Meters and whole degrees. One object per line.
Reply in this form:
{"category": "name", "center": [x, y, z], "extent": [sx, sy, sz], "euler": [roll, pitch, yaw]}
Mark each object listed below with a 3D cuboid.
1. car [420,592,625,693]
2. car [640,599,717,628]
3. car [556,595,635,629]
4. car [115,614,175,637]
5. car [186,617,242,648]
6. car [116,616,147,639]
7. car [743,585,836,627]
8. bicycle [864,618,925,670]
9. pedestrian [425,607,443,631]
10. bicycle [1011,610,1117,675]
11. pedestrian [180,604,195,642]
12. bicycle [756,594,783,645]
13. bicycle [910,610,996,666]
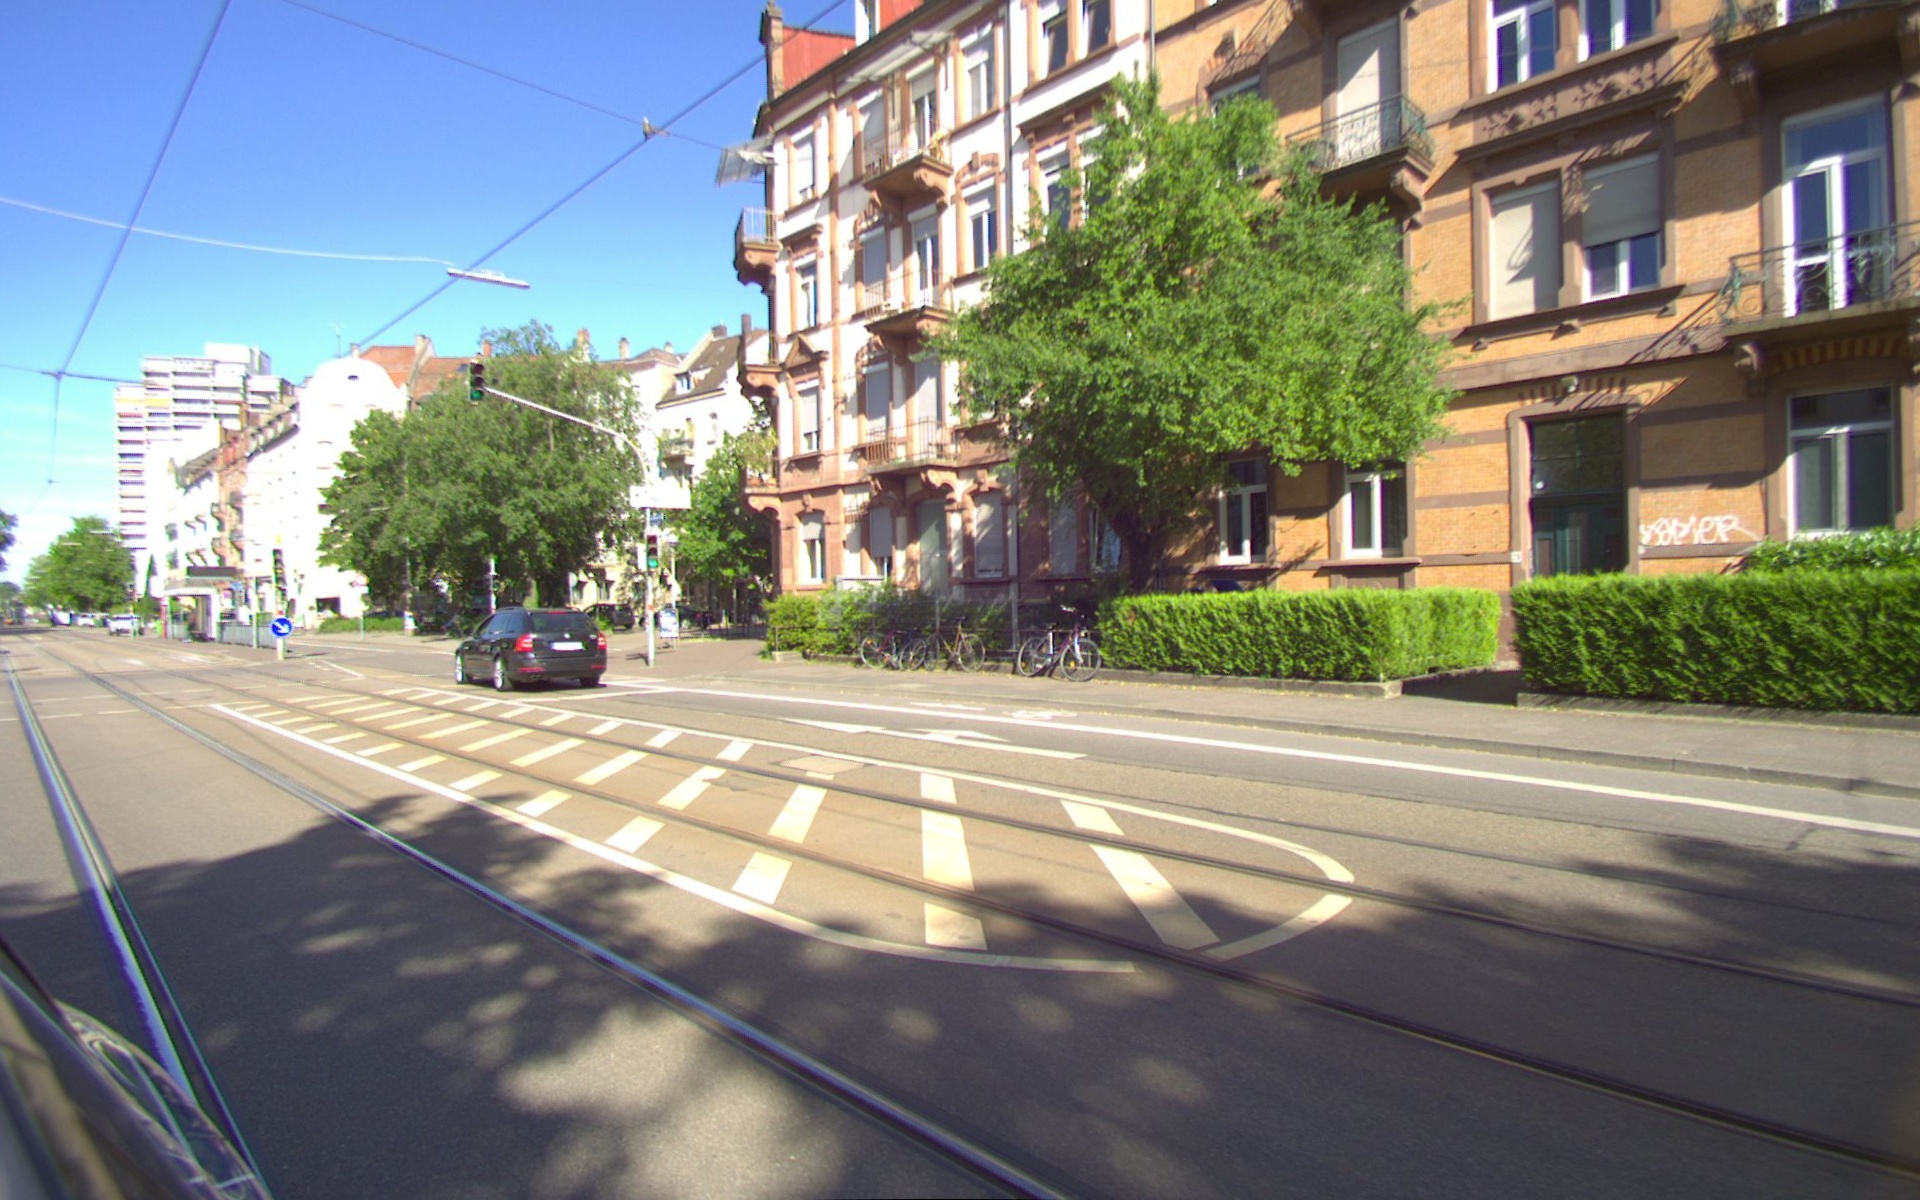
{"category": "car", "center": [-8.316, 0.709, 18.973], "extent": [1.811, 1.529, 4.971], "euler": [-6, 3, -44]}
{"category": "car", "center": [-15.899, 0.748, 57.084], "extent": [3.989, 1.554, 1.727], "euler": [-1, 0, 22]}
{"category": "car", "center": [-21.436, 0.689, 59.567], "extent": [3.964, 1.709, 1.694], "euler": [-4, 2, -37]}
{"category": "car", "center": [-73.031, 2.267, 90.711], "extent": [1.817, 1.600, 3.835], "euler": [4, 6, 41]}
{"category": "car", "center": [-42.293, 1.784, 57.349], "extent": [4.266, 1.630, 1.876], "euler": [0, 0, 44]}
{"category": "car", "center": [-62.541, 2.025, 76.395], "extent": [1.670, 1.551, 3.804], "euler": [-4, 2, -41]}
{"category": "car", "center": [-9.386, 0.305, 55.655], "extent": [4.776, 1.956, 1.931], "euler": [-3, 2, -15]}
{"category": "bicycle", "center": [-1.279, 0.829, 19.485], "extent": [0.337, 0.933, 1.455], "euler": [-4, 2, -40]}
{"category": "pedestrian", "center": [-29.036, 1.031, 55.898], "extent": [0.649, 1.291, 0.724], "euler": [-5, 2, -44]}
{"category": "bicycle", "center": [1.603, 0.641, 15.925], "extent": [0.337, 0.933, 1.946], "euler": [-4, 2, -40]}
{"category": "pedestrian", "center": [-37.027, 1.090, 48.508], "extent": [0.674, 1.798, 0.459], "euler": [-1, 1, 45]}
{"category": "bicycle", "center": [-5.368, 0.521, 28.549], "extent": [0.414, 1.305, 2.047], "euler": [-3, 2, -3]}
{"category": "bicycle", "center": [-0.154, 0.665, 18.185], "extent": [0.337, 0.933, 1.946], "euler": [-4, 2, -40]}
